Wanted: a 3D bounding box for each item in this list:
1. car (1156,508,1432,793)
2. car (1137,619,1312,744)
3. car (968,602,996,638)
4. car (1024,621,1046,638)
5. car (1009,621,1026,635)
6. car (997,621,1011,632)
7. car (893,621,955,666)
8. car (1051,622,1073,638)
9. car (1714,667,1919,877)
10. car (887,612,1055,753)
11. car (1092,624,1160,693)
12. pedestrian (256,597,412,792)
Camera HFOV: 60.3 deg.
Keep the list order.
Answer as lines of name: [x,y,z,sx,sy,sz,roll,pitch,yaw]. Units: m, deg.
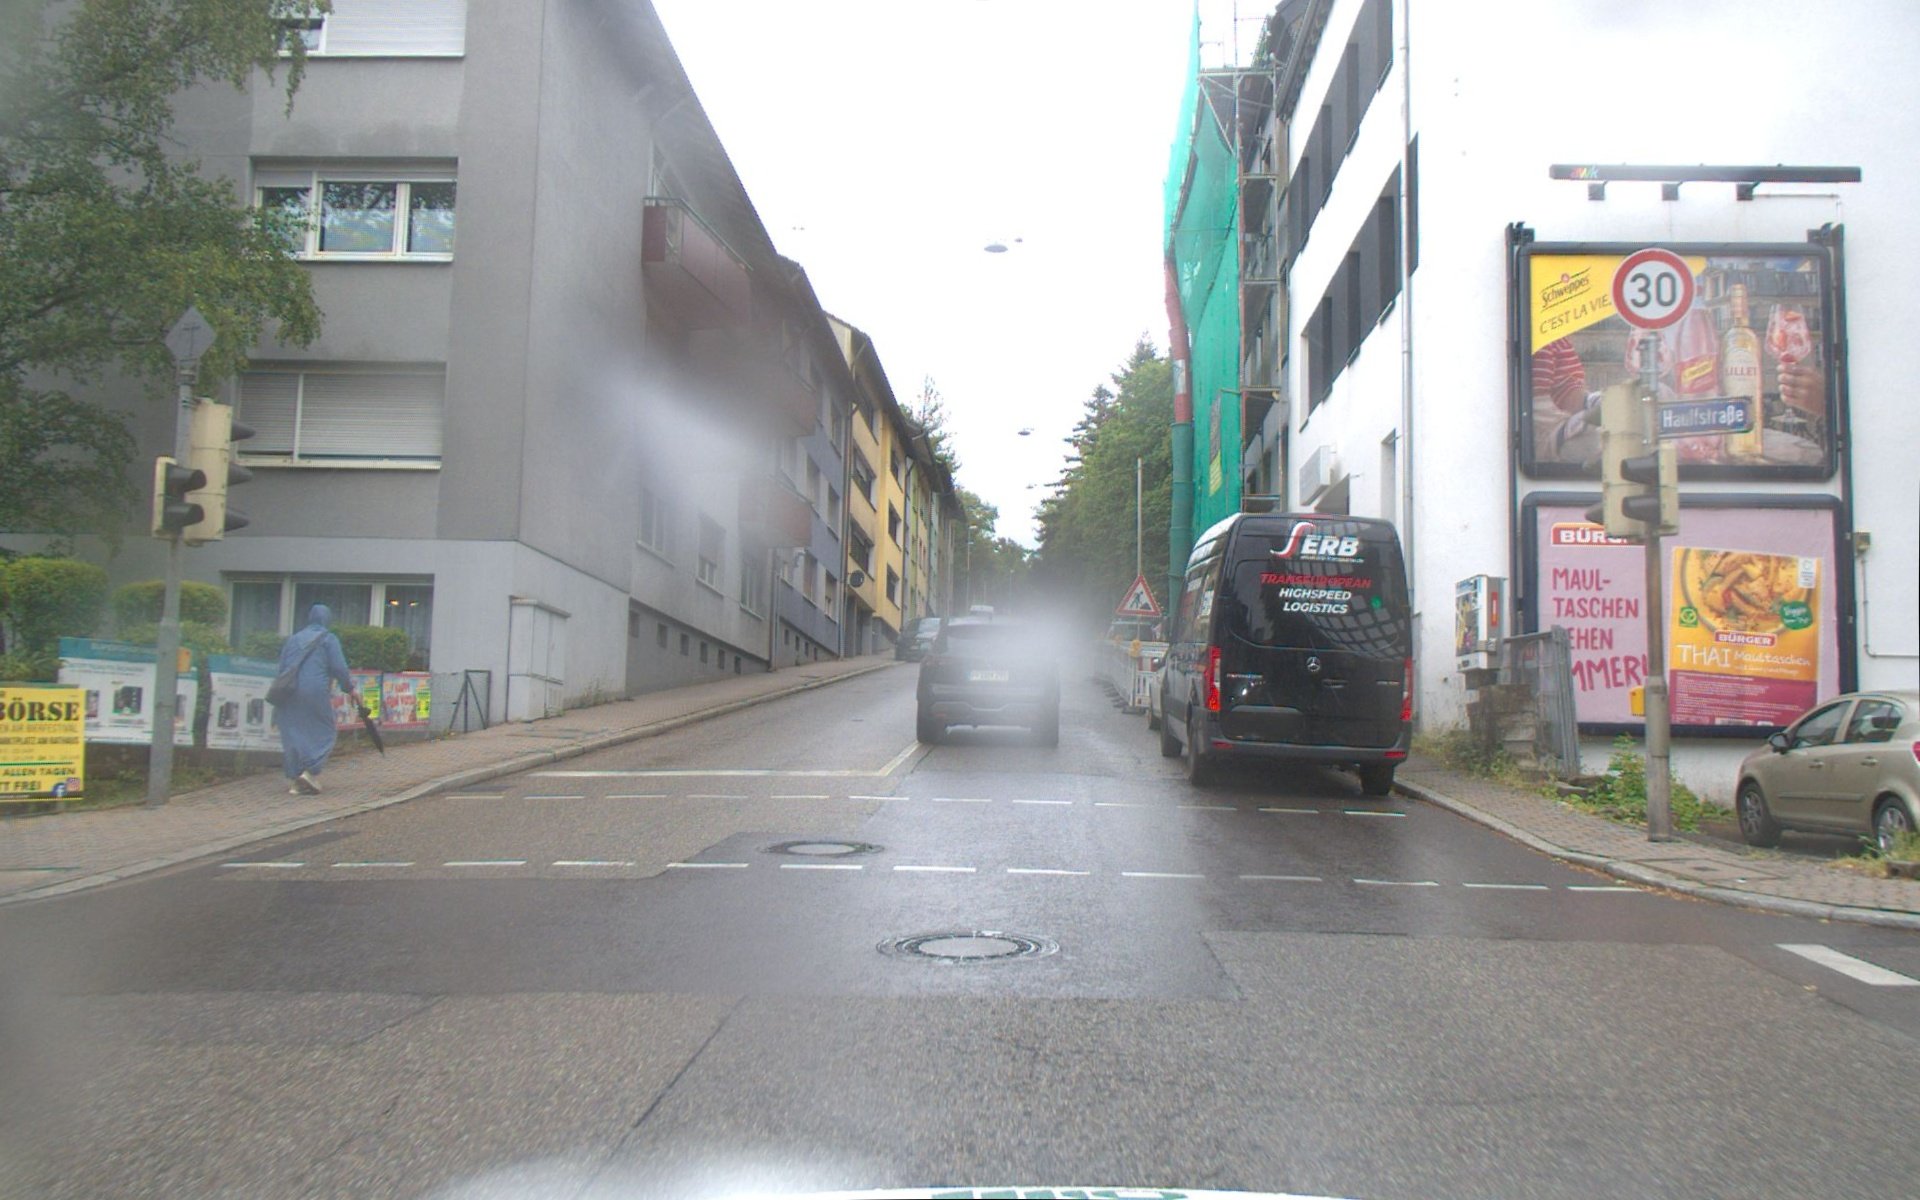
car: [3.323,0.597,17.649,1.952,2.456,5.837,2,-3,3]
car: [3.665,1.109,23.650,1.952,1.539,4.338,2,-1,3]
car: [1.634,1.444,121.128,1.949,2.518,5.785,1,-1,2]
car: [7.457,2.938,165.049,2.031,1.587,4.000,2,-1,1]
car: [6.805,3.350,195.682,2.031,1.587,4.001,2,-1,2]
car: [6.666,3.953,249.422,2.031,1.587,4.001,2,-1,2]
car: [-1.386,1.689,65.501,1.951,1.679,4.444,1,-1,5]
car: [10.723,3.166,174.366,2.032,1.587,3.999,2,-1,0]
car: [8.383,1.462,14.739,1.530,1.510,4.000,2,0,1]
car: [0.224,1.001,21.762,1.952,1.587,4.001,2,0,3]
car: [4.790,1.662,48.109,1.606,1.793,4.001,2,0,2]
pedestrian: [-5.329,0.785,14.150,0.851,1.568,1.087,2,-1,0]
